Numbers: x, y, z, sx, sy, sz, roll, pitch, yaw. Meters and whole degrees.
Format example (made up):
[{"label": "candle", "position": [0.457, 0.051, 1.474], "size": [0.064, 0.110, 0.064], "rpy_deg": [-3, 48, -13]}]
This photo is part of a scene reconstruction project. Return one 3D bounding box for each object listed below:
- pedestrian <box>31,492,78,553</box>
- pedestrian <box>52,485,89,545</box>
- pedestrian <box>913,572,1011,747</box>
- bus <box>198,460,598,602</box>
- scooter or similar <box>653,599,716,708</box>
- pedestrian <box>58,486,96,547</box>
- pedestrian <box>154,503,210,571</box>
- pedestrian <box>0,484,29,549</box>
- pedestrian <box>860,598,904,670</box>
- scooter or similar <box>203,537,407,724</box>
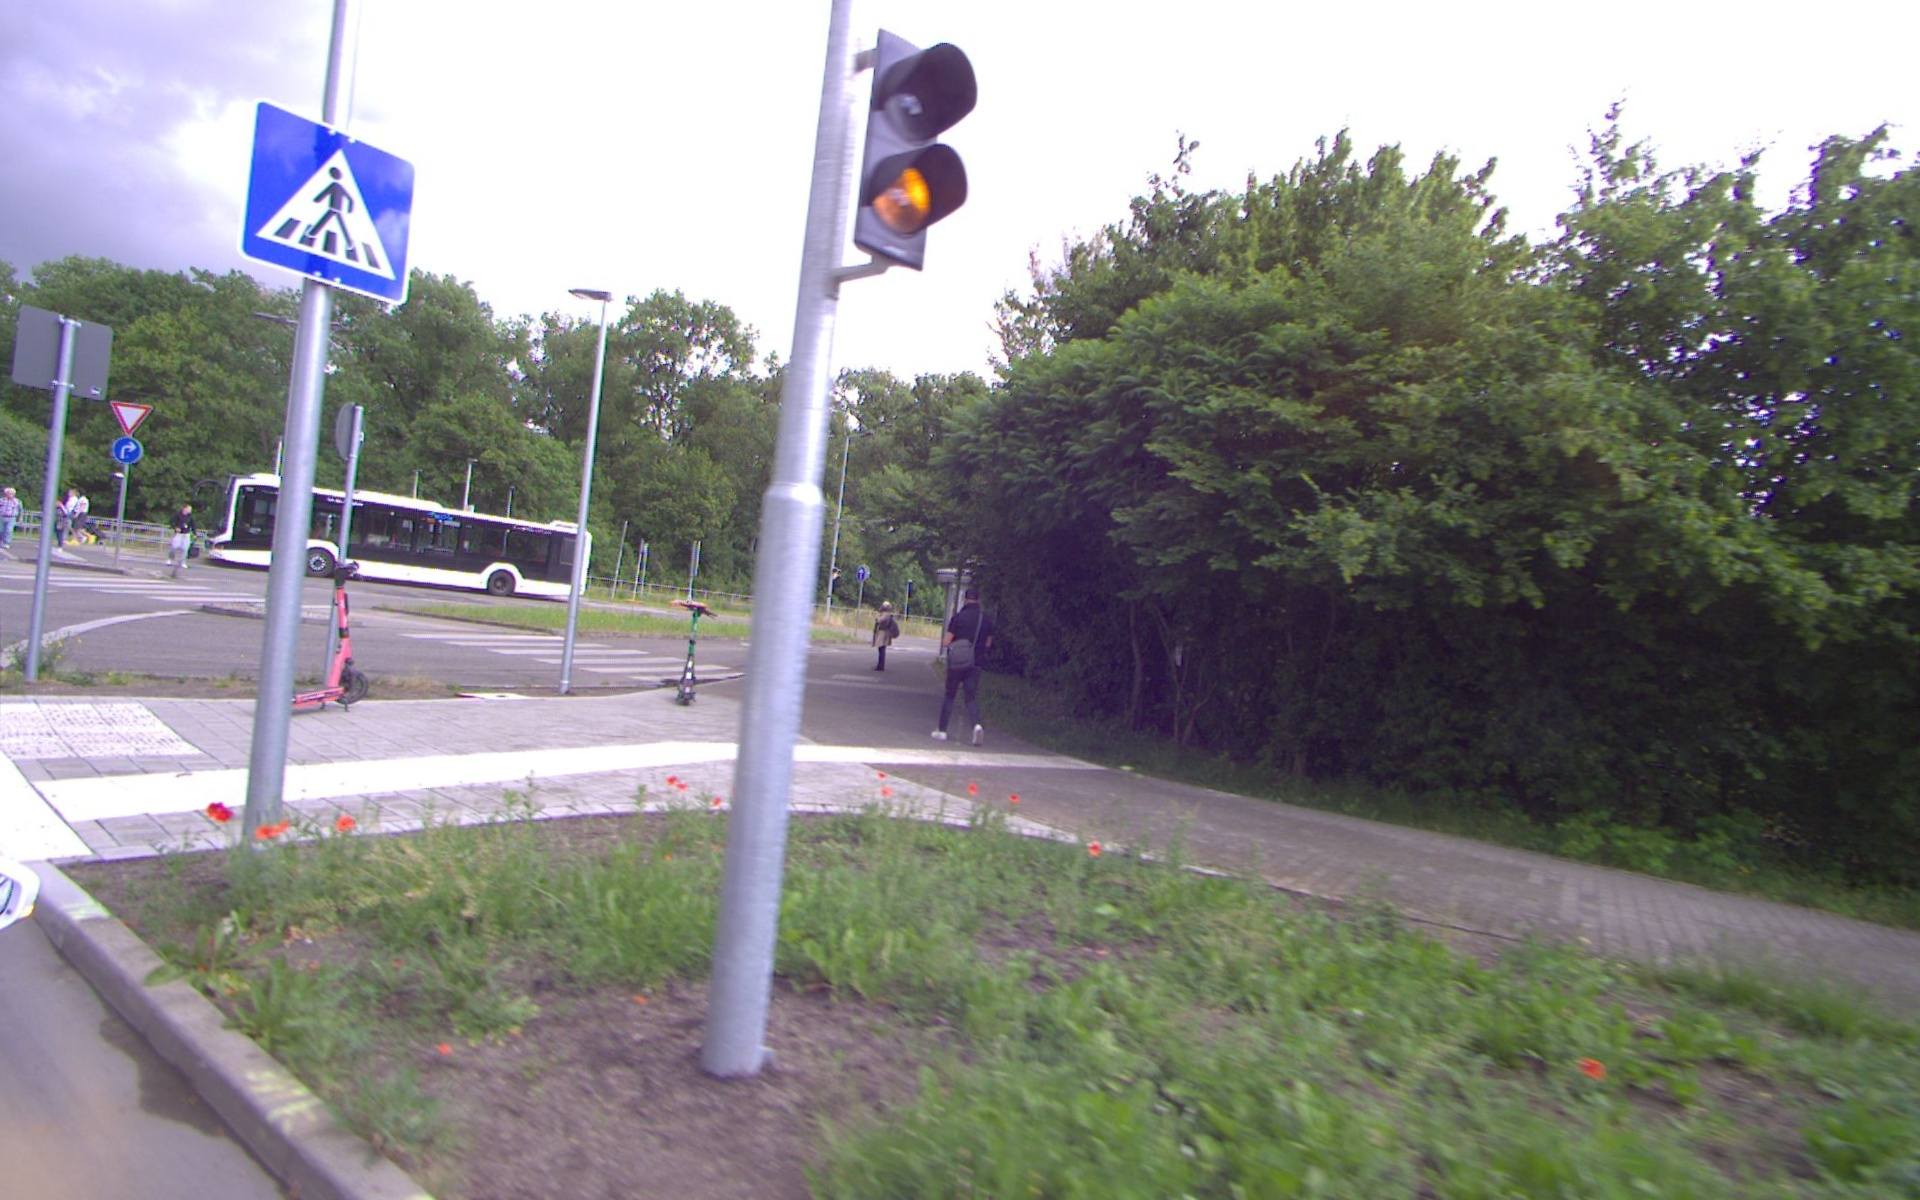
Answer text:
[{"label": "pedestrian", "position": [-25.255, -2.159, 28.076], "size": [0.684, 1.586, 0.727], "rpy_deg": [7, 0, -29]}, {"label": "pedestrian", "position": [-28.299, -2.699, 32.023], "size": [0.718, 1.769, 0.946], "rpy_deg": [7, 0, -42]}, {"label": "pedestrian", "position": [0.043, 0.674, 11.642], "size": [0.841, 1.844, 0.985], "rpy_deg": [7, 0, 5]}, {"label": "bus", "position": [-19.533, -2.207, 36.190], "size": [2.639, 3.241, 12.135], "rpy_deg": [7, -1, 43]}, {"label": "scooter or similar", "position": [-3.641, 0.676, 13.280], "size": [0.612, 1.289, 1.491], "rpy_deg": [7, -2, -16]}, {"label": "pedestrian", "position": [-27.515, -2.589, 31.345], "size": [0.718, 1.769, 0.946], "rpy_deg": [7, 0, -42]}, {"label": "pedestrian", "position": [-22.254, -1.783, 28.814], "size": [0.947, 1.768, 1.054], "rpy_deg": [7, 0, -29]}, {"label": "pedestrian", "position": [-25.454, -2.226, 26.758], "size": [0.691, 1.653, 0.717], "rpy_deg": [7, 0, -29]}, {"label": "pedestrian", "position": [-1.845, 0.801, 23.891], "size": [0.674, 1.613, 0.772], "rpy_deg": [7, 0, 10]}, {"label": "scooter or similar", "position": [-5.292, 0.247, 8.249], "size": [0.562, 1.329, 1.525], "rpy_deg": [7, -1, -1]}]
